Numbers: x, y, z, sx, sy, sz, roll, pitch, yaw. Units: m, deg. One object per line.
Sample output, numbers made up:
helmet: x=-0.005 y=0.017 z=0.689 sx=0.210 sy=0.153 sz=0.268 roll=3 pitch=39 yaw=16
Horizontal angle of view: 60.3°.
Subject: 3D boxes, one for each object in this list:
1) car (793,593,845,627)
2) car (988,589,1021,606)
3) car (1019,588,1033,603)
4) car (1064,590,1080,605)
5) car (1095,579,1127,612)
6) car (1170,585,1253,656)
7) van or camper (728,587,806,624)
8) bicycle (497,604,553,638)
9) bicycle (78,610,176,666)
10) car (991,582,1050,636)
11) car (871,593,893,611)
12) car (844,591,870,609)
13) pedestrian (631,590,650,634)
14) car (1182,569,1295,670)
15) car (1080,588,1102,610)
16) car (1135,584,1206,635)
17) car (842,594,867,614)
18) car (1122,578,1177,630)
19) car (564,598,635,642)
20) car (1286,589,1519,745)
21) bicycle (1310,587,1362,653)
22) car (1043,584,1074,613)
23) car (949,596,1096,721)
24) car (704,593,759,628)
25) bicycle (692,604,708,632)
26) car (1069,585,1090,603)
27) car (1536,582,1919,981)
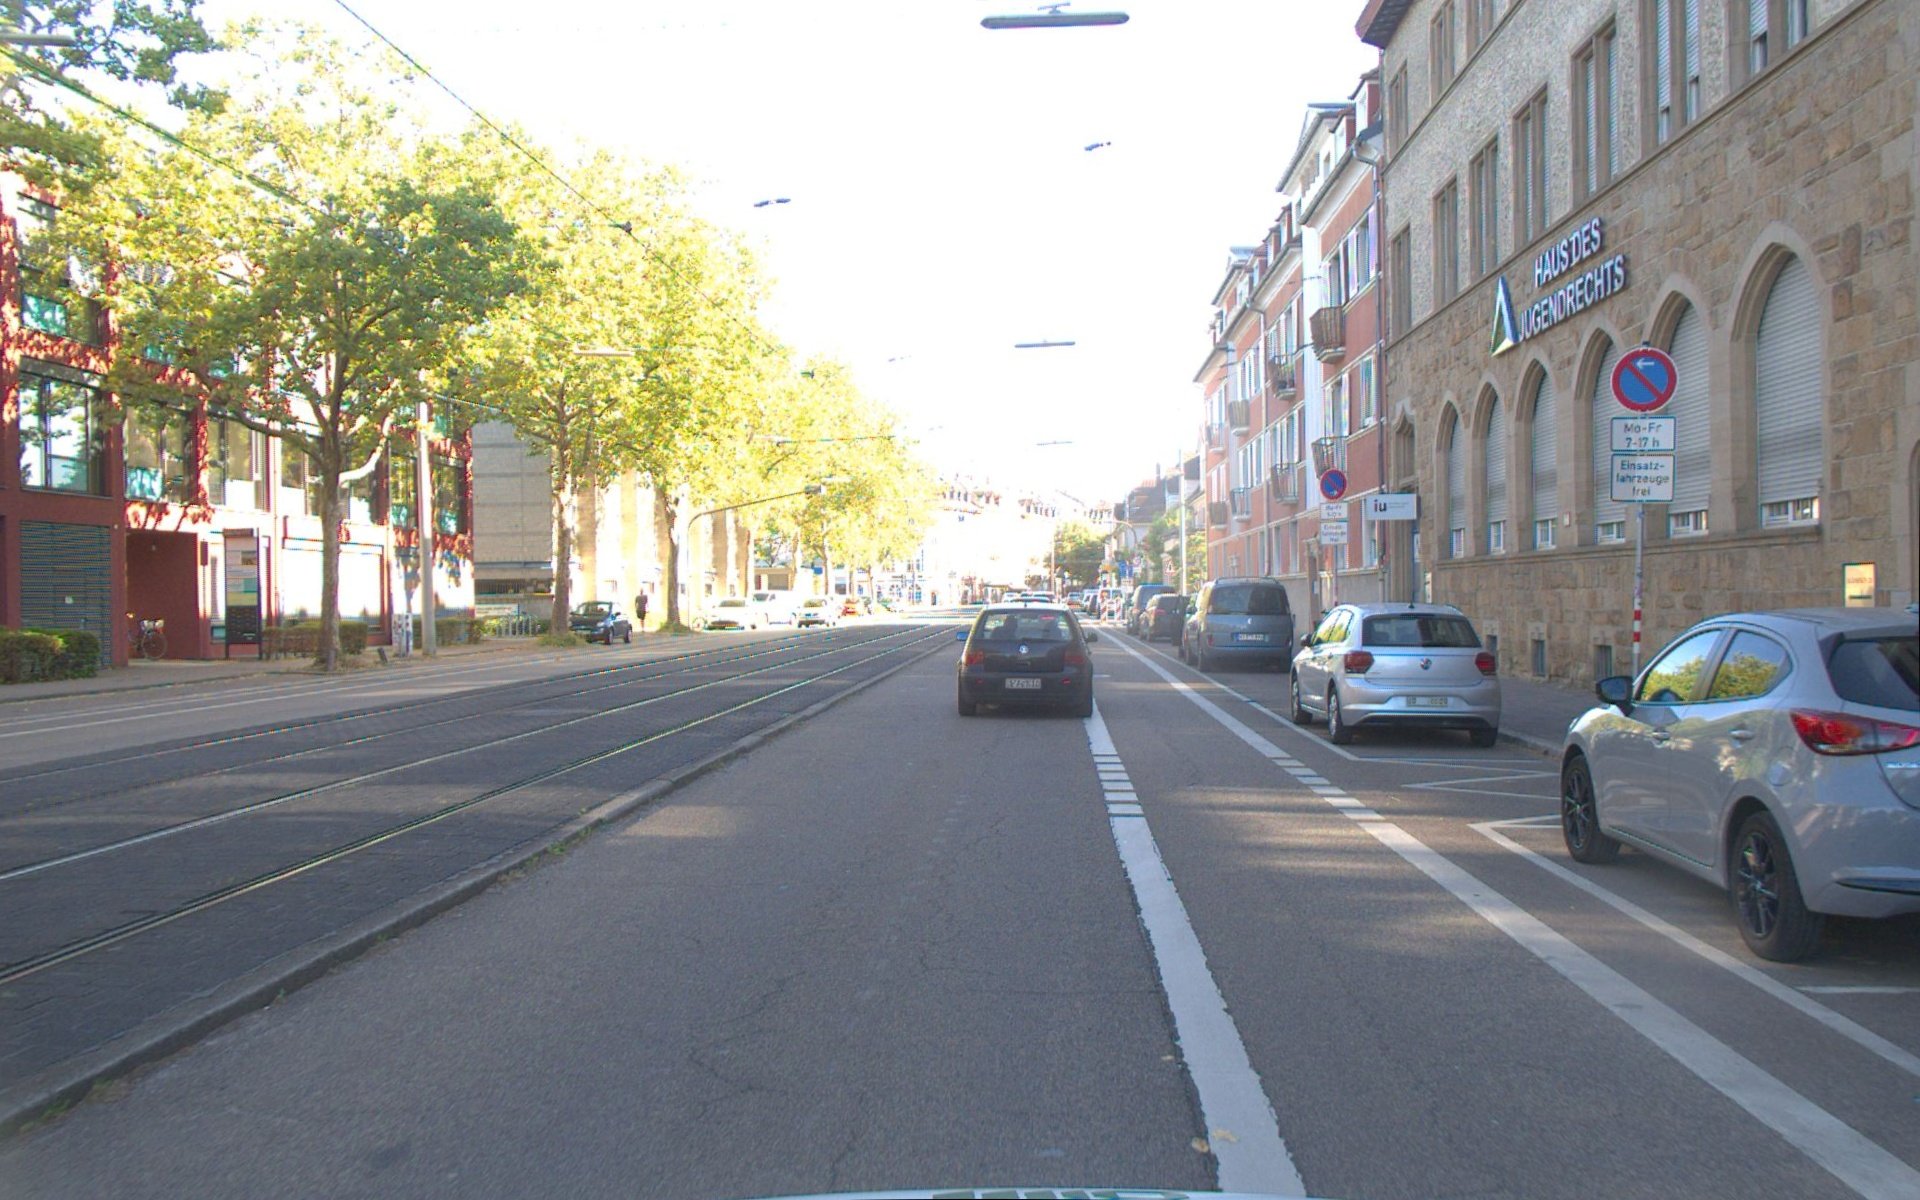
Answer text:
car: x=-6.992 y=0.464 z=82.393 sx=1.716 sy=1.544 sz=4.074 roll=-3 pitch=0 yaw=7
car: x=5.463 y=-0.306 z=202.694 sx=3.905 sy=2.049 sz=2.000 roll=0 pitch=1 yaw=0
car: x=7.679 y=-0.558 z=192.736 sx=1.633 sy=1.728 sz=3.651 roll=-1 pitch=0 yaw=3
car: x=12.211 y=-0.279 z=180.759 sx=1.633 sy=1.625 sz=3.651 roll=-1 pitch=0 yaw=3
car: x=8.836 y=-0.267 z=96.955 sx=1.722 sy=1.870 sz=3.549 roll=0 pitch=1 yaw=3
car: x=5.761 y=0.432 z=38.252 sx=1.597 sy=1.538 sz=3.718 roll=0 pitch=0 yaw=4
van or camper: x=-10.726 y=0.258 z=92.221 sx=2.018 sy=1.983 sz=5.188 roll=1 pitch=1 yaw=23
bicycle: x=-16.907 y=0.807 z=64.295 sx=1.966 sy=1.301 sz=0.664 roll=0 pitch=1 yaw=3
bicycle: x=-19.924 y=0.912 z=39.587 sx=2.019 sy=1.294 sz=0.618 roll=1 pitch=1 yaw=1
car: x=1.926 y=0.244 z=51.620 sx=1.712 sy=1.564 sz=3.893 roll=-2 pitch=1 yaw=3
car: x=-7.611 y=0.180 z=161.737 sx=1.844 sy=1.698 sz=3.805 roll=0 pitch=1 yaw=2
car: x=-8.806 y=-0.040 z=142.167 sx=1.755 sy=1.491 sz=3.837 roll=1 pitch=0 yaw=3
pedestrian: x=-13.825 y=0.508 z=71.522 sx=0.771 sy=1.902 sz=0.669 roll=0 pitch=1 yaw=-12
car: x=5.568 y=0.345 z=33.546 sx=1.716 sy=1.888 sz=4.817 roll=-1 pitch=0 yaw=3
car: x=11.022 y=-0.091 z=139.295 sx=1.779 sy=1.830 sz=4.002 roll=-1 pitch=0 yaw=3
car: x=6.722 y=0.274 z=53.185 sx=1.717 sy=1.538 sz=4.763 roll=0 pitch=0 yaw=1
car: x=-8.484 y=0.321 z=132.979 sx=1.537 sy=1.560 sz=3.573 roll=-1 pitch=-1 yaw=3
car: x=7.042 y=0.134 z=61.768 sx=1.667 sy=1.842 sz=4.272 roll=0 pitch=0 yaw=1
car: x=-12.537 y=0.680 z=57.709 sx=1.475 sy=1.479 sz=3.465 roll=-1 pitch=0 yaw=4
car: x=4.820 y=0.656 z=18.590 sx=1.678 sy=1.527 sz=4.228 roll=0 pitch=0 yaw=3
bicycle: x=7.107 y=0.363 z=31.344 sx=0.504 sy=1.159 sz=2.259 roll=-3 pitch=1 yaw=2
car: x=5.336 y=-0.088 z=89.618 sx=1.602 sy=1.498 sz=3.731 roll=-1 pitch=0 yaw=3
car: x=0.798 y=0.693 z=21.616 sx=1.712 sy=1.399 sz=4.001 roll=-2 pitch=1 yaw=2
car: x=-11.275 y=0.484 z=81.877 sx=1.970 sy=1.600 sz=4.694 roll=0 pitch=1 yaw=2
bicycle: x=-11.988 y=0.813 z=76.314 sx=0.569 sy=1.230 sz=1.653 roll=0 pitch=1 yaw=-3
car: x=9.718 y=-0.484 z=134.583 sx=1.547 sy=1.399 sz=4.002 roll=-1 pitch=0 yaw=3
car: x=4.385 y=0.685 z=8.403 sx=1.716 sy=1.527 sz=4.198 roll=0 pitch=0 yaw=4
